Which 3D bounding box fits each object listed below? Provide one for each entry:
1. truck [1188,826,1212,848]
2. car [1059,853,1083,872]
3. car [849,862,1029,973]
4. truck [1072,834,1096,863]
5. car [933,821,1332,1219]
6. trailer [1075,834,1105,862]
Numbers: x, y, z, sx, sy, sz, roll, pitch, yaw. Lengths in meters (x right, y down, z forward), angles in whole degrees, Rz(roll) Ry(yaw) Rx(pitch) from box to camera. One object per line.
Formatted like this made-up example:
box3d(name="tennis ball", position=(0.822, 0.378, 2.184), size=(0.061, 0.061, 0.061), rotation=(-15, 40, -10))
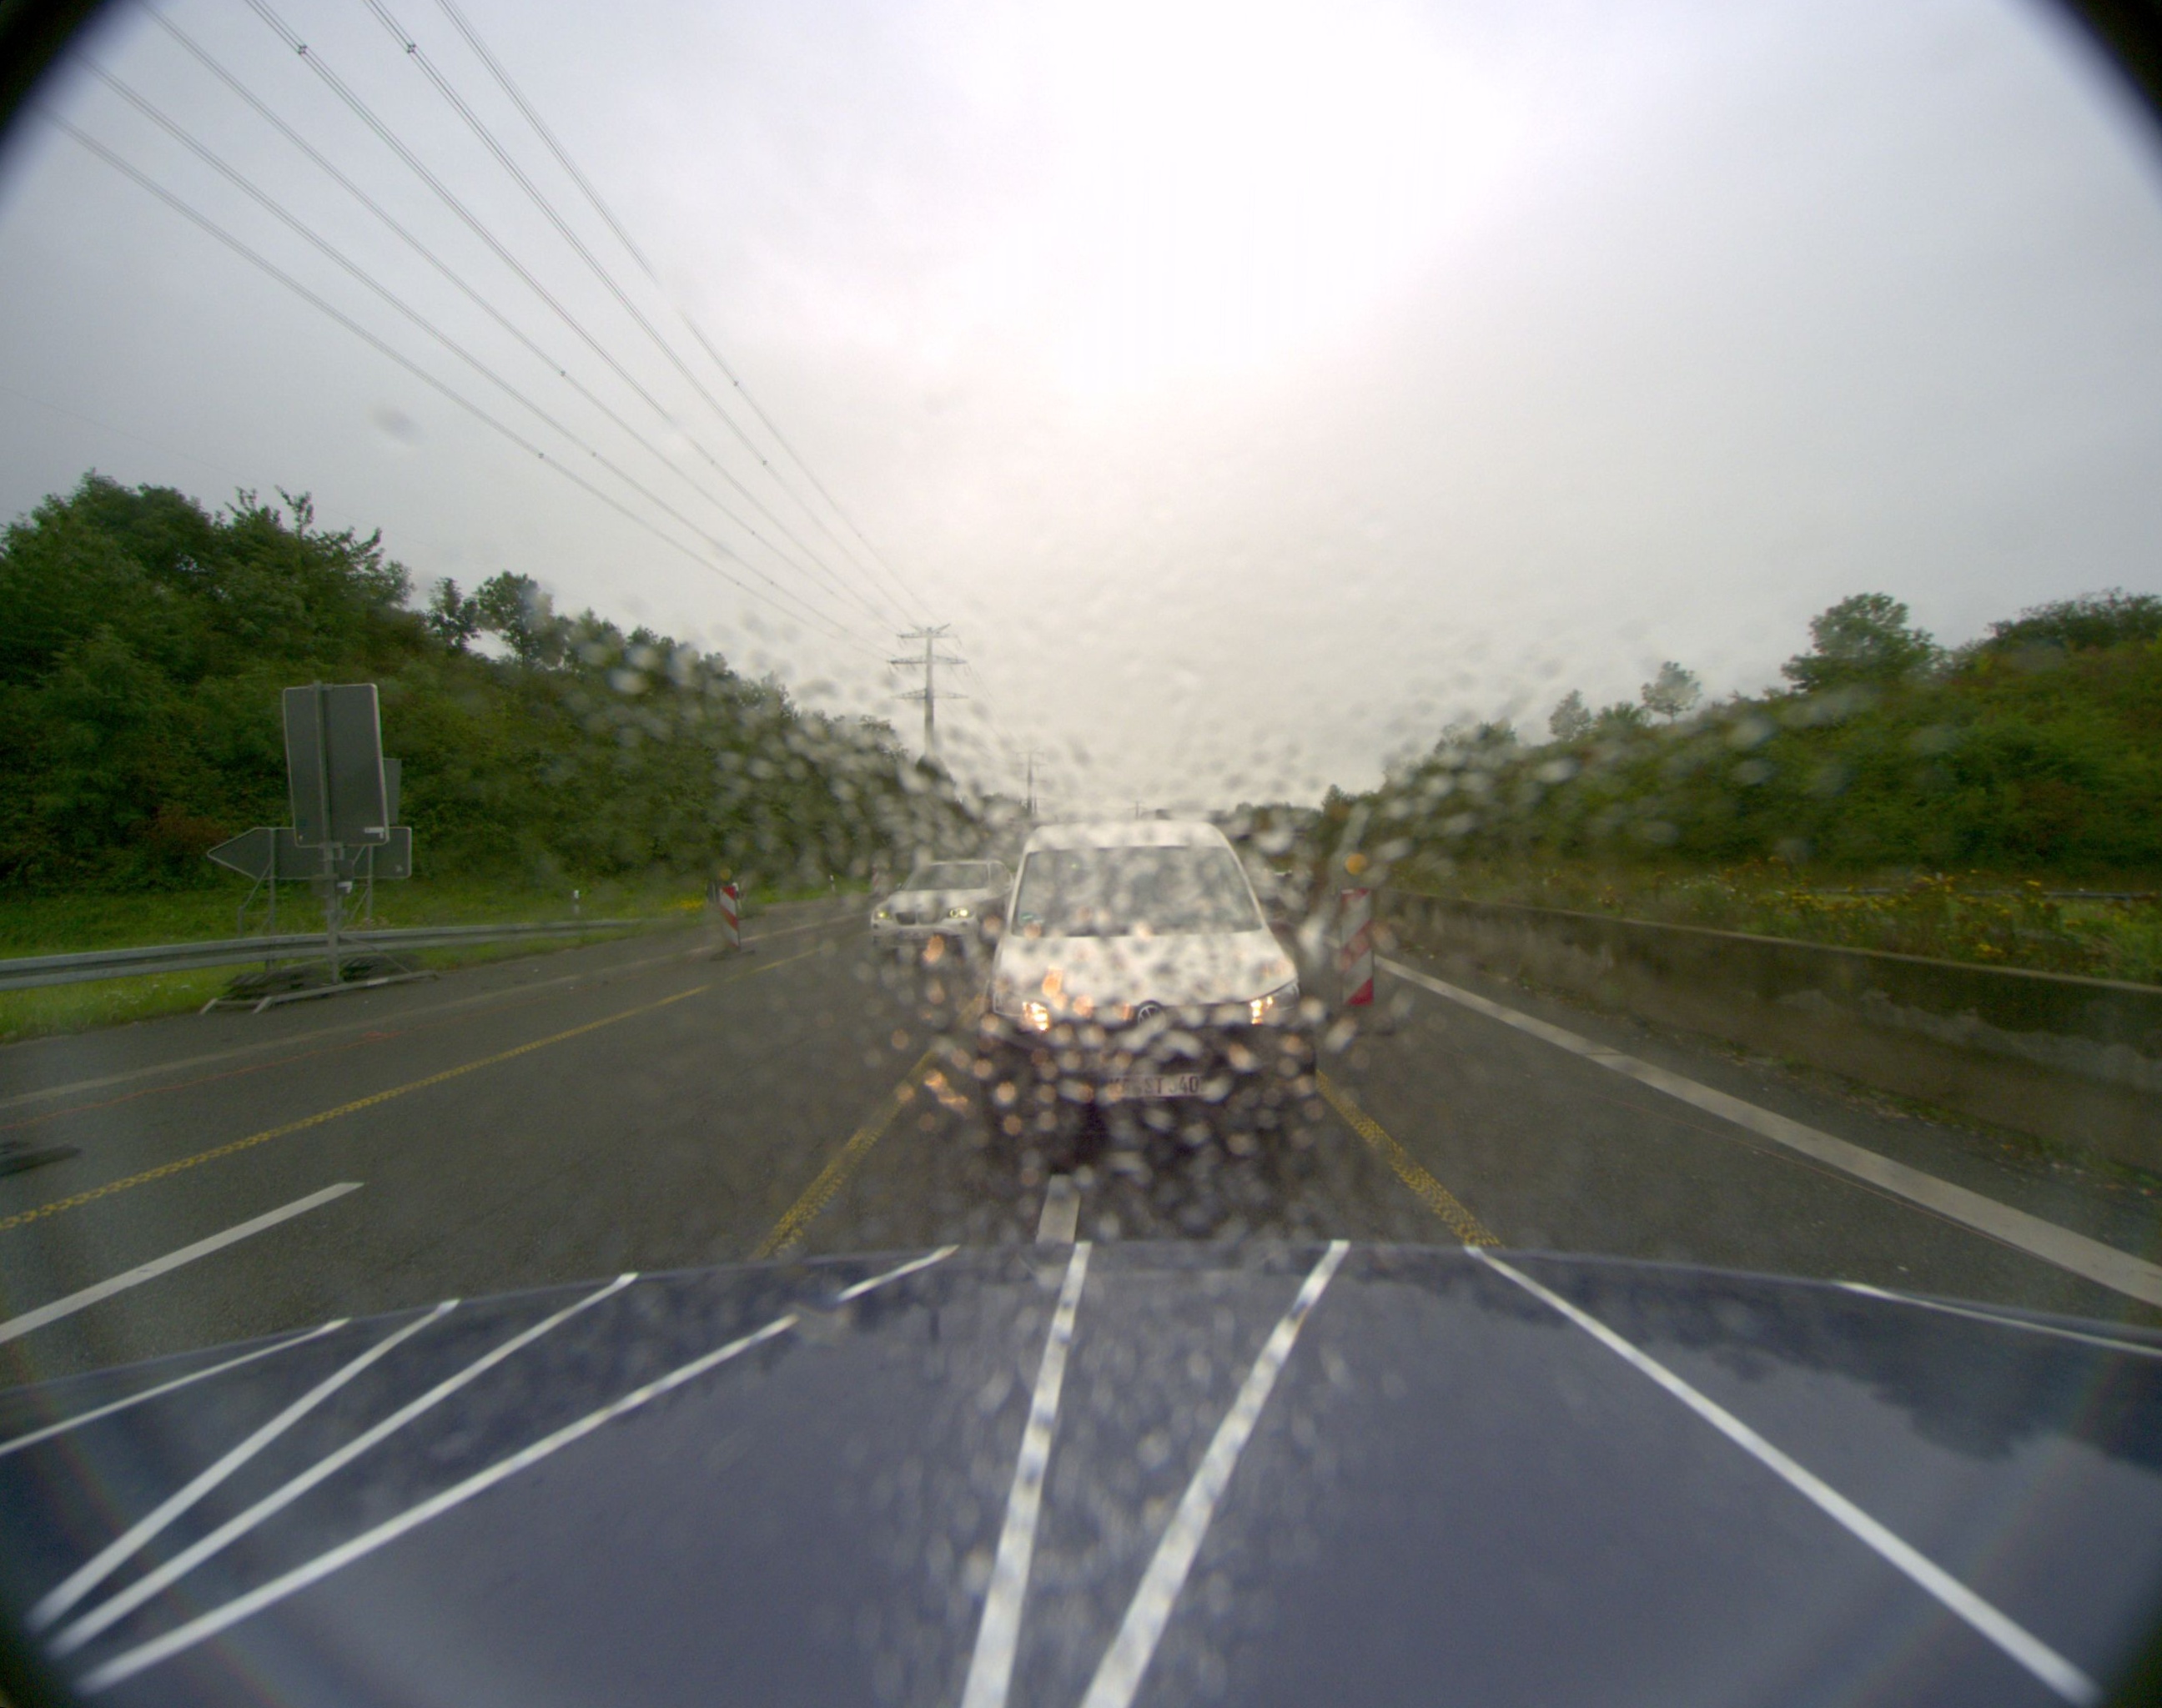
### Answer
box3d(name="truck", position=(26.325, -3.755, 169.027), size=(3.414, 4.498, 17.288), rotation=(-1, 1, 3))
box3d(name="car", position=(-0.883, 0.788, 70.938), size=(2.051, 1.587, 5.801), rotation=(-2, 0, 1))
box3d(name="car", position=(-2.216, 0.950, 13.122), size=(1.874, 1.526, 4.198), rotation=(-1, 0, 6))
box3d(name="truck", position=(0.484, -0.833, 106.972), size=(2.552, 3.924, 4.002), rotation=(-2, 1, 9))
box3d(name="car", position=(0.262, 0.763, 5.822), size=(1.770, 1.774, 4.647), rotation=(-2, 0, 1))
box3d(name="trailer", position=(1.482, -0.995, 113.213), size=(2.524, 3.812, 12.358), rotation=(-2, 1, 10))
